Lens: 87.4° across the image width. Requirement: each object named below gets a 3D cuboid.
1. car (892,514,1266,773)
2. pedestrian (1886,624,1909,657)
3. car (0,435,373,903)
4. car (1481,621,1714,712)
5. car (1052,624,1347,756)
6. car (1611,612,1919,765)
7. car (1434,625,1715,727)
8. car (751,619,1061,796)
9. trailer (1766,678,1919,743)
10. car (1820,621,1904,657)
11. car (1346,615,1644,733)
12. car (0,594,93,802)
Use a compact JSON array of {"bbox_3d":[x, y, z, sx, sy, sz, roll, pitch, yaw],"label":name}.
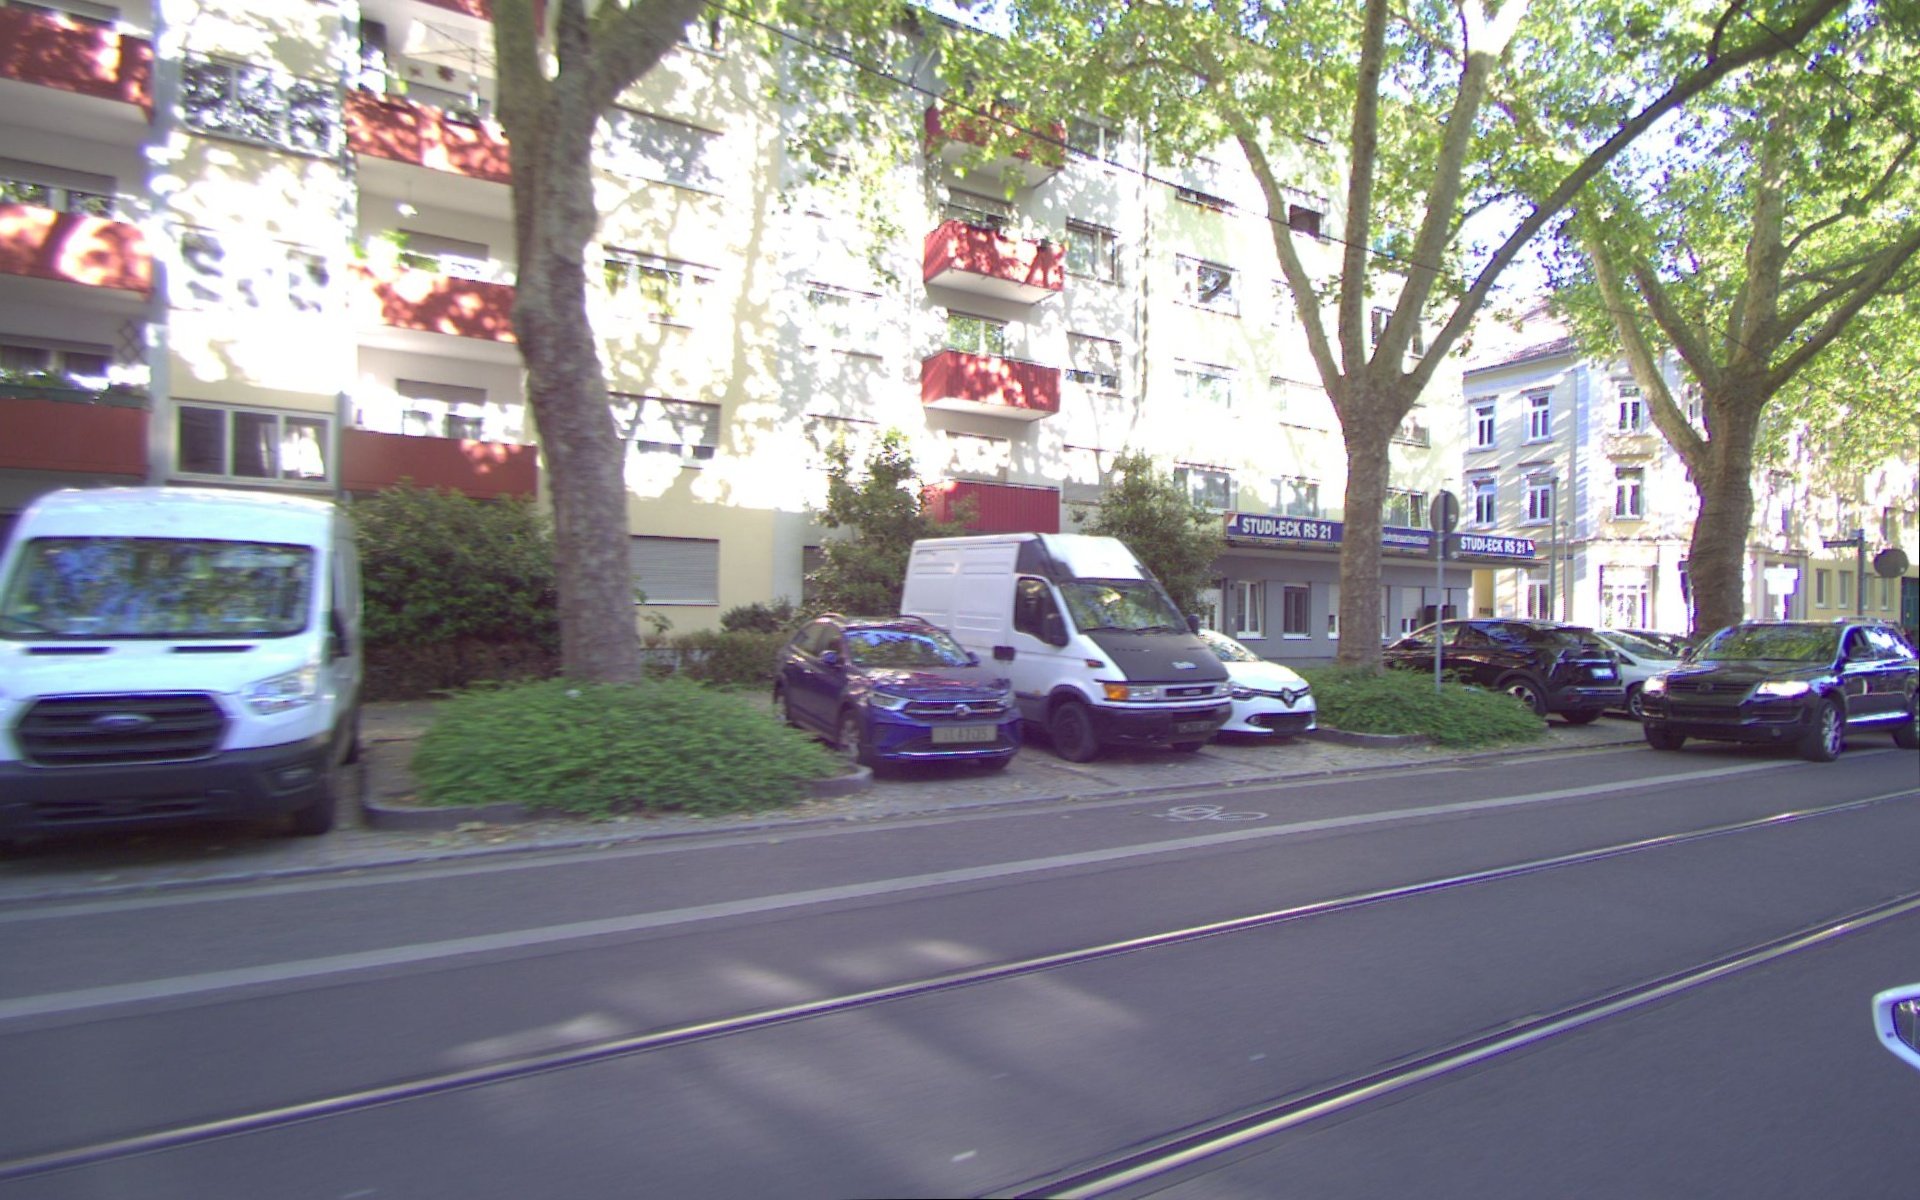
[{"bbox_3d":[1.227,0.469,12.702,2.060,2.601,4.915,1,-1,-32],"label":"car"},{"bbox_3d":[40.551,1.734,43.452,0.641,1.421,0.550,1,-1,-26],"label":"pedestrian"},{"bbox_3d":[-5.951,0.400,8.000,2.032,2.510,5.337,1,-1,-29],"label":"car"},{"bbox_3d":[12.251,1.205,19.477,1.768,1.551,3.411,1,-1,-32],"label":"car"},{"bbox_3d":[3.136,1.108,13.865,1.839,1.498,3.835,1,-1,-31],"label":"car"},{"bbox_3d":[10.843,1.068,13.266,4.432,1.722,1.984,1,-2,-30],"label":"car"},{"bbox_3d":[10.843,1.258,18.007,1.751,1.542,3.967,1,-1,-31],"label":"car"},{"bbox_3d":[-0.793,0.994,11.029,1.849,1.485,4.002,1,-1,-29],"label":"car"},{"bbox_3d":[15.495,1.690,15.943,6.325,0.640,2.150,1,-1,-31],"label":"trailer"},{"bbox_3d":[40.809,1.749,45.421,3.952,1.537,1.674,1,0,-30],"label":"car"},{"bbox_3d":[8.635,1.100,16.549,1.872,1.669,3.967,1,-1,-31],"label":"car"},{"bbox_3d":[-8.148,0.716,7.375,1.850,1.559,4.350,1,-1,-30],"label":"car"}]
